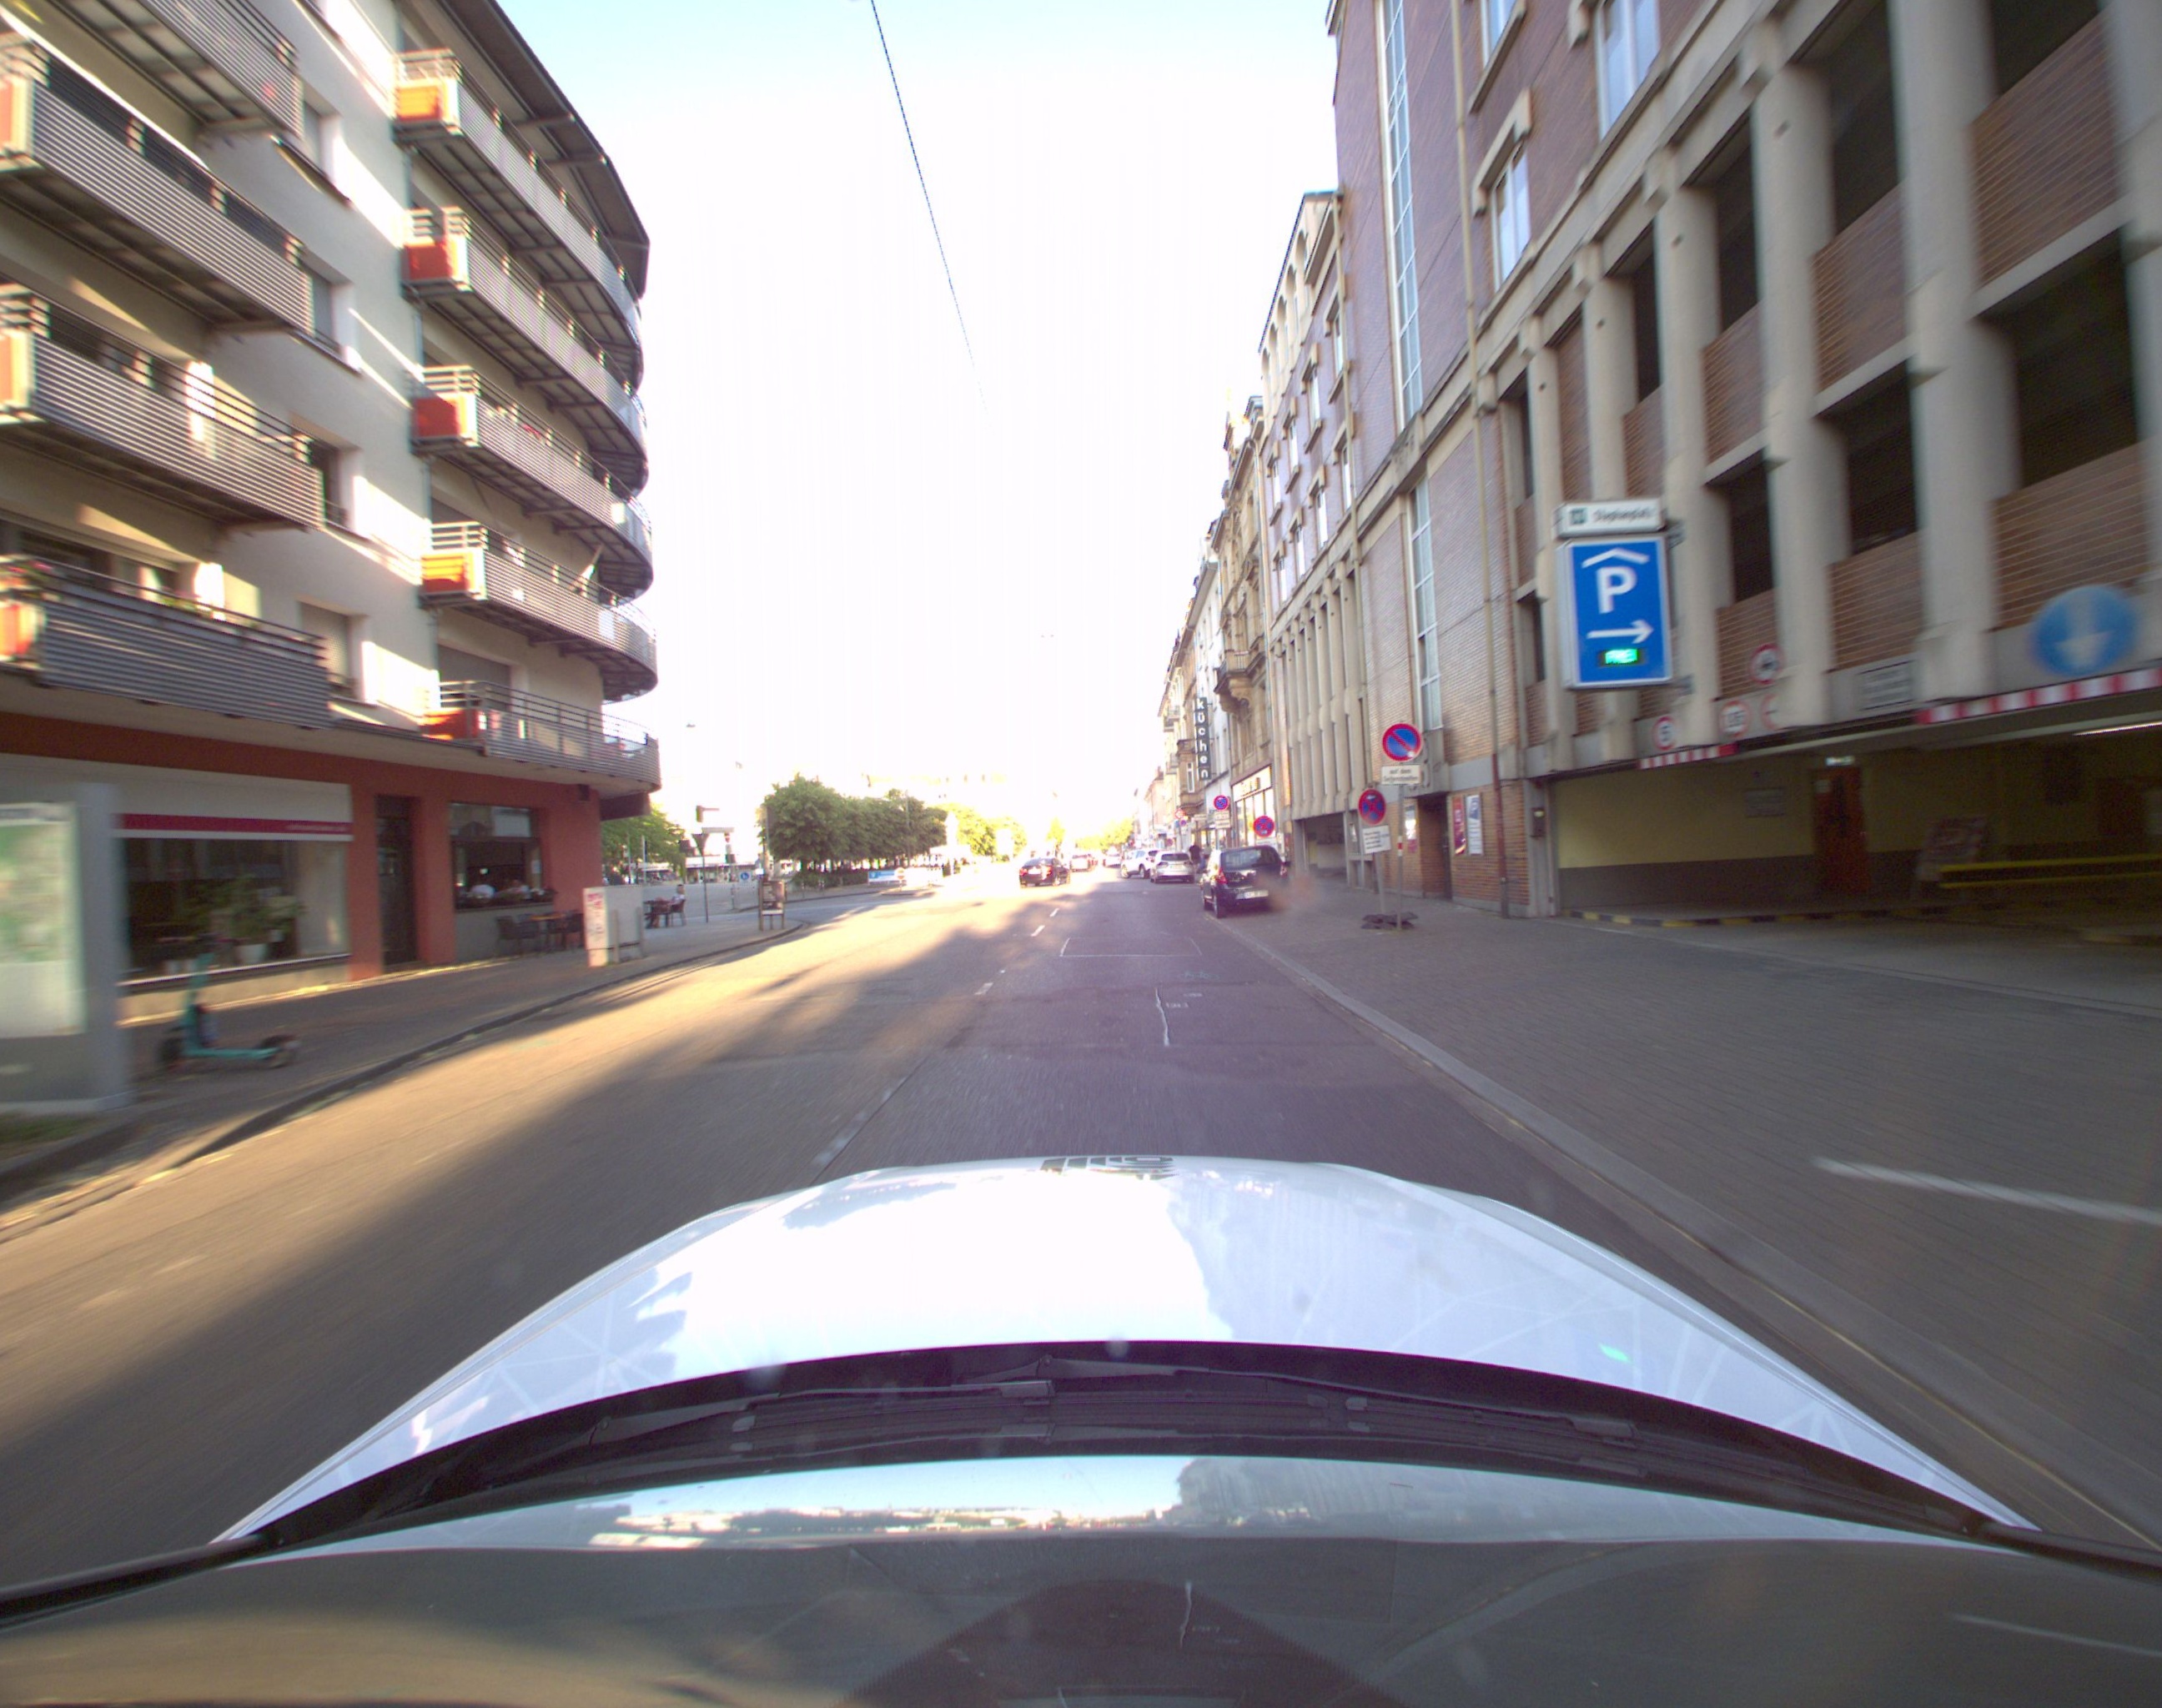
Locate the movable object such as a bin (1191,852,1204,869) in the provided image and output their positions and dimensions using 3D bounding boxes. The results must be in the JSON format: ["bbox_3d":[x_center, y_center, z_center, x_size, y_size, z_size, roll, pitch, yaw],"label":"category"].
[{"bbox_3d":[7.771,0.452,54.336,0.771,1.070,0.618,-5,0,1],"label":"movable object such as a bin"}]

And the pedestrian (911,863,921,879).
[{"bbox_3d":[-16.619,1.691,82.154,0.672,1.595,0.680,-2,0,21],"label":"pedestrian"}]

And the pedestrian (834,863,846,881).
[{"bbox_3d":[-21.216,1.583,71.813,0.783,1.595,0.571,-2,0,21],"label":"pedestrian"}]

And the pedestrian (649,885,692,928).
[{"bbox_3d":[-12.624,1.592,25.065,0.896,1.242,0.766,-3,-2,-7],"label":"pedestrian"}]

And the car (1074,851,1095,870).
[{"bbox_3d":[0.384,0.620,79.595,1.890,1.649,4.105,-2,0,1],"label":"car"}]

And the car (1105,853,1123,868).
[{"bbox_3d":[3.469,0.682,85.999,1.890,1.581,4.001,-1,0,2],"label":"car"}]

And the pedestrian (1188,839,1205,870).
[{"bbox_3d":[6.947,0.036,48.960,0.770,1.827,1.011,-5,0,1],"label":"pedestrian"}]

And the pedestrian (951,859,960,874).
[{"bbox_3d":[-14.018,1.425,90.881,0.783,1.595,0.571,-2,0,21],"label":"pedestrian"}]

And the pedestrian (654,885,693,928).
[{"bbox_3d":[-12.877,1.653,25.742,0.826,1.273,0.747,-3,-2,-7],"label":"pedestrian"}]

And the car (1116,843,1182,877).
[{"bbox_3d":[3.791,0.374,46.423,2.000,1.761,4.435,-3,0,-20],"label":"car"}]

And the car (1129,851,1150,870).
[{"bbox_3d":[5.169,0.589,72.092,1.723,1.651,4.287,-1,-1,3],"label":"car"}]

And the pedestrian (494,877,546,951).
[{"bbox_3d":[-12.519,1.325,18.190,0.594,1.595,0.702,-4,-2,3],"label":"pedestrian"}]

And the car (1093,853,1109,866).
[{"bbox_3d":[2.410,0.617,99.442,1.890,1.581,3.853,0,0,2],"label":"car"}]

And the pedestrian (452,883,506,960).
[{"bbox_3d":[-13.183,1.462,17.843,0.670,1.595,0.598,-4,-2,2],"label":"pedestrian"}]

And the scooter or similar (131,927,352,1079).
[{"bbox_3d":[-7.588,1.323,7.399,1.394,1.226,0.525,-2,0,-2],"label":"scooter or similar"}]

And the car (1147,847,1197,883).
[{"bbox_3d":[4.159,0.506,37.891,1.753,1.536,4.821,-1,-1,0],"label":"car"}]

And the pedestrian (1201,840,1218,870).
[{"bbox_3d":[7.732,0.075,49.078,0.770,1.711,1.042,-5,0,1],"label":"pedestrian"}]

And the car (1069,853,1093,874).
[{"bbox_3d":[-0.003,0.809,71.362,1.890,1.649,4.106,-2,0,2],"label":"car"}]

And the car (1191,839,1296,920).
[{"bbox_3d":[3.718,0.540,19.270,1.752,1.536,4.003,-6,0,3],"label":"car"}]

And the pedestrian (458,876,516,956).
[{"bbox_3d":[-12.501,1.288,17.147,0.594,1.595,0.751,-4,-2,3],"label":"pedestrian"}]

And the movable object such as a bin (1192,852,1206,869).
[{"bbox_3d":[7.753,0.433,53.620,0.771,1.070,0.618,-5,0,1],"label":"movable object such as a bin"}]

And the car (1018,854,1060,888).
[{"bbox_3d":[-2.018,0.794,40.158,1.891,1.581,3.998,-1,0,-1],"label":"car"}]

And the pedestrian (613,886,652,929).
[{"bbox_3d":[-13.914,1.659,25.282,0.720,1.247,0.828,-3,-2,-4],"label":"pedestrian"}]

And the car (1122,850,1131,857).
[{"bbox_3d":[10.604,-0.083,189.766,1.890,1.581,3.853,-4,0,2],"label":"car"}]

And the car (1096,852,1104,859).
[{"bbox_3d":[4.509,0.377,194.587,1.773,1.547,4.001,-2,0,1],"label":"car"}]
